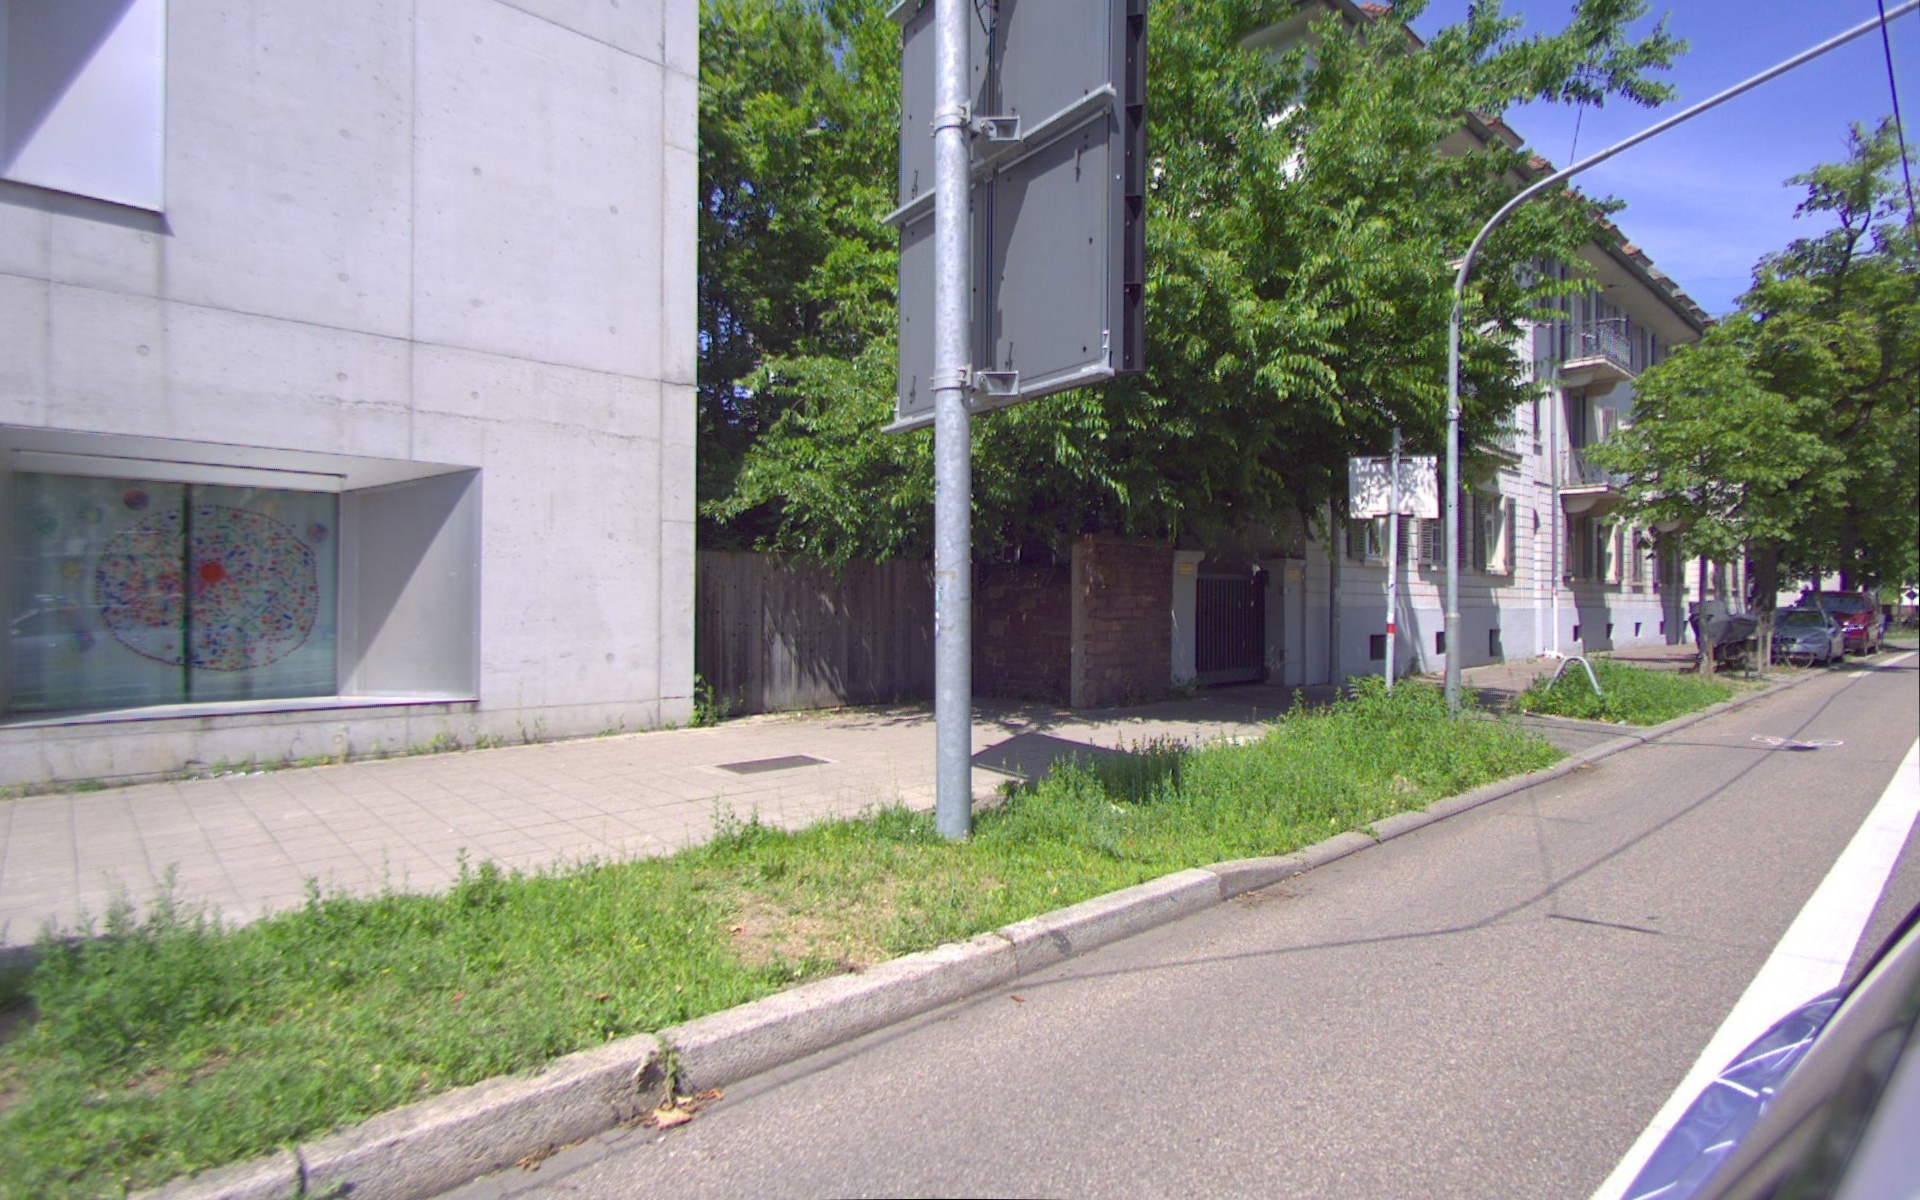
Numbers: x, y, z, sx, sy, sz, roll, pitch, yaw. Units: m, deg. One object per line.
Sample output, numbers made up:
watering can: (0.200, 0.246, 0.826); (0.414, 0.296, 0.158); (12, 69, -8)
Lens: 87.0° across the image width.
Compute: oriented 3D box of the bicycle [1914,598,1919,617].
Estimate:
bicycle: (62.406, 0.482, 65.666); (0.281, 1.216, 1.613); (-2, -1, 27)

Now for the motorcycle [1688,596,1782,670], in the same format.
motorcycle: (16.774, 0.691, 21.883); (2.508, 1.525, 0.748); (0, -1, -32)

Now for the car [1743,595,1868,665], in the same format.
car: (22.040, 0.721, 26.313); (4.796, 1.597, 1.861); (-1, -1, -43)

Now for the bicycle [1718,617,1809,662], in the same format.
bicycle: (19.244, 0.934, 24.274); (0.365, 1.028, 1.660); (1, -1, -42)

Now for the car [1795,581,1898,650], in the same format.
car: (28.089, 0.452, 32.016); (4.891, 2.039, 1.861); (-1, -1, -42)
